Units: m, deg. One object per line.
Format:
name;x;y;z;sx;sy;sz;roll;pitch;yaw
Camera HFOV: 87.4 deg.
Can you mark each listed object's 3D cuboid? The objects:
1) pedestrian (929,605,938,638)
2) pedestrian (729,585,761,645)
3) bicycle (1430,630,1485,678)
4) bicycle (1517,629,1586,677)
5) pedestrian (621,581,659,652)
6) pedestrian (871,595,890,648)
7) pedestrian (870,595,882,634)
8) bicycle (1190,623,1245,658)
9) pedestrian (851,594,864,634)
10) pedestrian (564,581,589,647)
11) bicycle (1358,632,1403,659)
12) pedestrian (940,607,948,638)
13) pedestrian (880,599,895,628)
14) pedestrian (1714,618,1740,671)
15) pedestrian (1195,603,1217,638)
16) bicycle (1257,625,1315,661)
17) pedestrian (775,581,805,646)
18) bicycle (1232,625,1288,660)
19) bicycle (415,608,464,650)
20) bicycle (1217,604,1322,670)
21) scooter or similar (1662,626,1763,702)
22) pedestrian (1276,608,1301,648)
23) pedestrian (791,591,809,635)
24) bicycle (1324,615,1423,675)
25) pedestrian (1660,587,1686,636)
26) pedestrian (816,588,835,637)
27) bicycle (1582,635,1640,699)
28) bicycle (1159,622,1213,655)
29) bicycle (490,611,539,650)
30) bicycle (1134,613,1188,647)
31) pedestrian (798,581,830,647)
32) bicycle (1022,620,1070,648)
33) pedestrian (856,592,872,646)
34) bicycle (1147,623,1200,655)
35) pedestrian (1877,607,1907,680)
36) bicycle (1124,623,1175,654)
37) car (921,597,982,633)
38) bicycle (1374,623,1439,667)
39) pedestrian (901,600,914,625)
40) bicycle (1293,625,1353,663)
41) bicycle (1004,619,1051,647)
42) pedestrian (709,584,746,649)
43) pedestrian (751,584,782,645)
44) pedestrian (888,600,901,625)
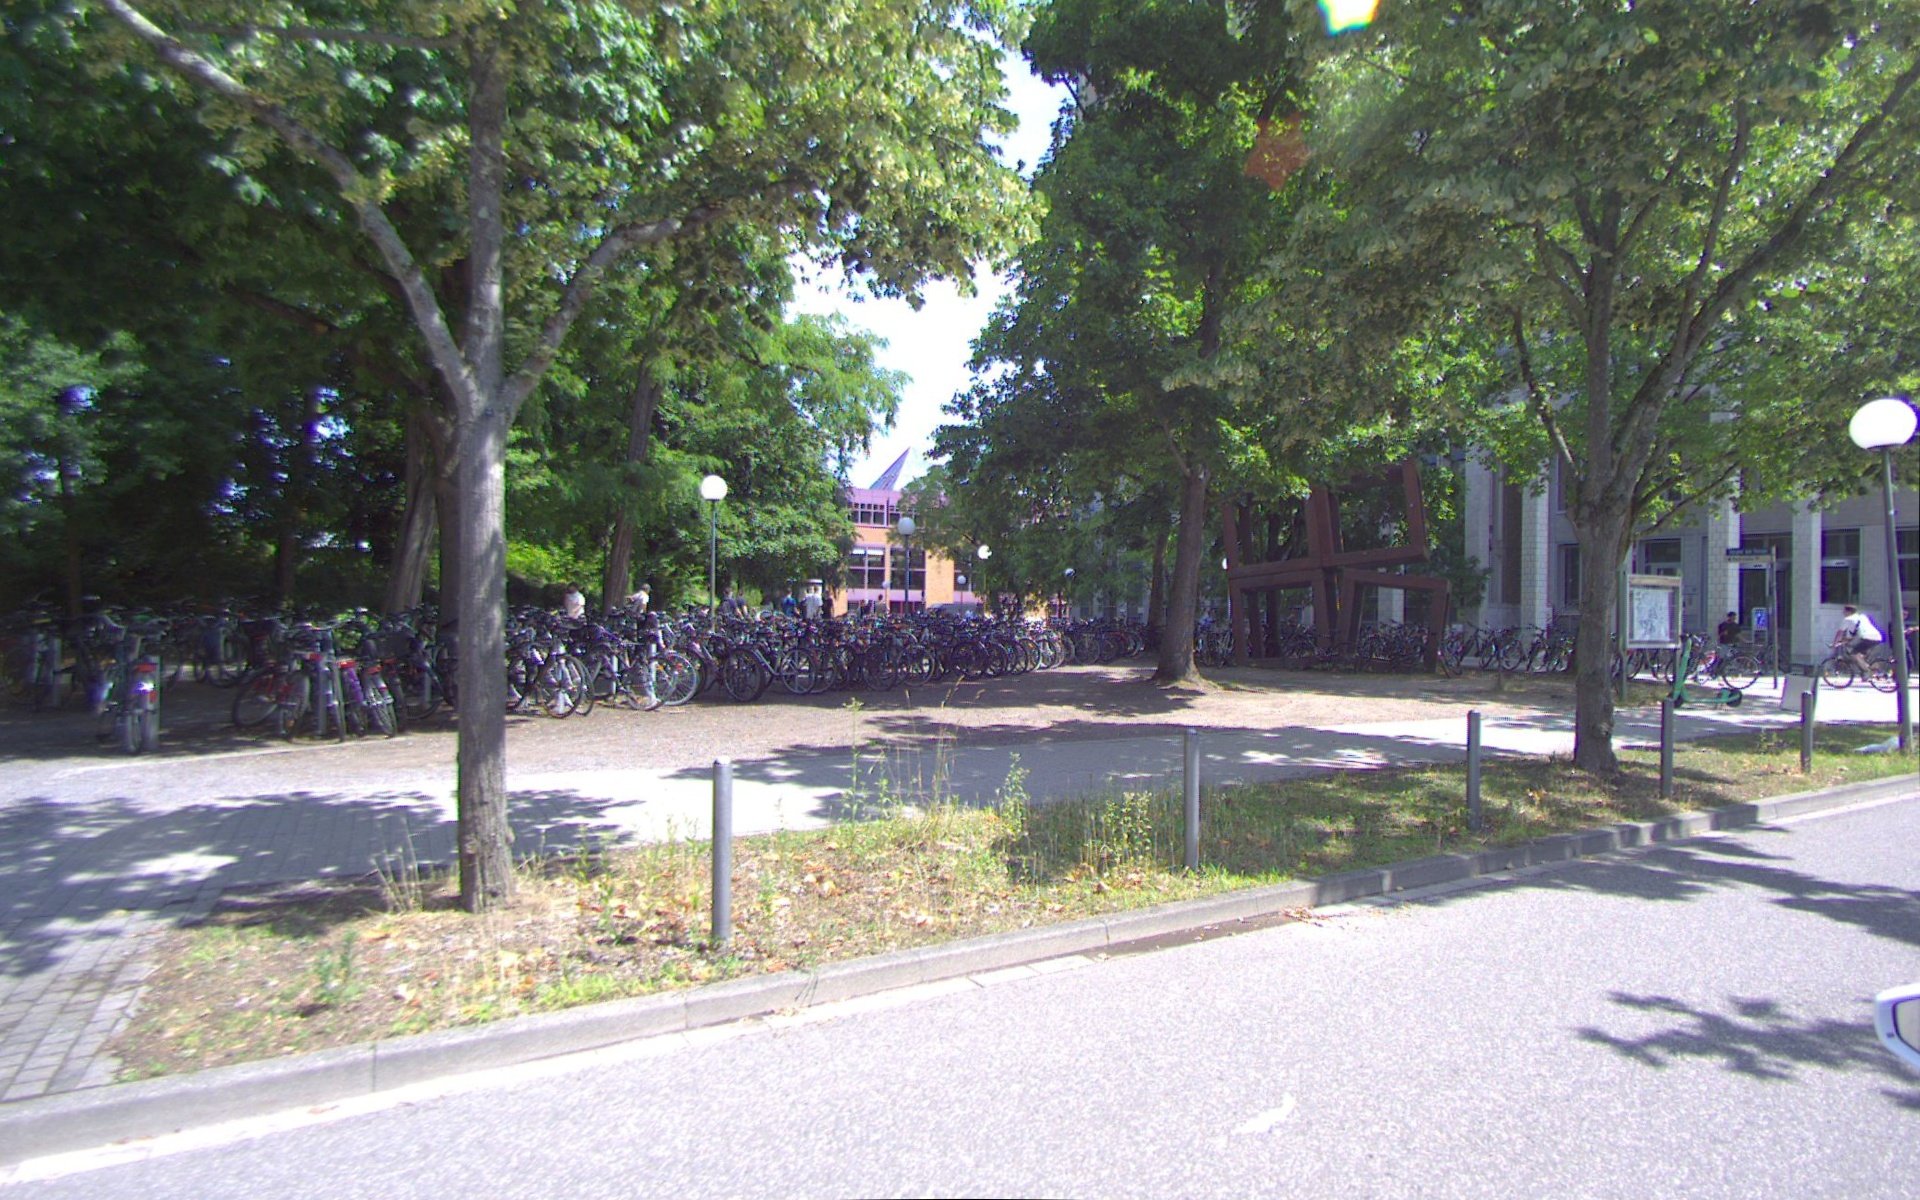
pedestrian;-1.637;1.336;62.493;0.446;2.040;0.611;1;1;3
pedestrian;-6.127;0.427;28.668;0.545;1.693;0.703;1;1;25
bicycle;10.761;1.152;21.692;1.644;0.978;0.471;1;0;-41
bicycle;14.419;1.270;24.469;1.950;1.101;0.549;1;1;-30
pedestrian;-7.763;0.386;24.383;0.567;1.693;0.630;1;1;25
pedestrian;-3.047;0.824;38.546;0.583;2.040;0.532;1;0;-15
pedestrian;-4.340;0.743;51.724;0.511;2.040;0.532;1;0;-15
bicycle;8.662;1.360;33.748;1.950;1.101;0.549;1;1;-30
pedestrian;-5.278;0.741;51.779;0.566;2.040;0.532;1;0;-15
pedestrian;-9.514;0.346;24.901;0.452;1.636;0.351;1;0;-1
bicycle;15.999;1.720;38.179;1.971;0.959;0.523;1;0;-31
pedestrian;-1.035;1.475;65.919;0.457;2.040;0.611;1;1;3
pedestrian;-4.137;0.779;57.117;0.751;1.617;0.392;1;0;-31
pedestrian;21.023;1.209;27.542;0.440;1.402;0.462;-3;1;-39
pedestrian;11.207;0.935;45.768;0.714;1.561;0.696;1;0;-40
bicycle;10.302;1.356;31.748;1.950;1.101;0.549;1;1;-30
pedestrian;-5.232;0.396;30.871;0.610;1.960;0.681;1;1;25
bicycle;9.873;1.383;33.016;1.950;1.101;0.549;1;1;-30
bicycle;-12.196;0.668;23.517;1.741;0.906;0.417;1;1;41
bicycle;7.178;0.837;23.332;2.248;1.469;0.606;1;0;28
scooter or similar;12.195;1.030;16.295;1.301;1.191;0.340;1;0;5
pedestrian;13.676;1.167;41.823;0.590;1.614;0.824;1;0;-28
pedestrian;-5.743;0.469;36.057;0.402;1.547;0.486;1;1;30
bicycle;9.150;0.977;22.262;1.984;1.270;0.586;0;-1;28
pedestrian;24.857;0.396;35.025;0.623;1.683;0.693;1;0;29
pedestrian;-4.804;0.439;35.900;0.405;1.736;0.544;1;1;30
bicycle;11.176;1.124;17.226;1.802;1.039;0.378;1;0;-43
bicycle;7.890;1.349;35.005;1.950;1.101;0.549;1;1;-30
bicycle;-11.199;0.759;25.236;1.741;0.906;0.417;1;1;41
bicycle;7.276;1.082;36.312;2.067;1.137;0.547;-1;2;-31
pedestrian;-4.413;0.427;30.423;0.636;1.960;0.696;1;1;25
bicycle;3.557;1.399;41.624;1.950;1.101;0.614;1;1;-30
pedestrian;-3.690;0.735;38.578;0.511;2.040;0.532;1;0;-15
bicycle;7.583;1.382;35.640;1.950;1.101;0.549;1;1;-30
pedestrian;23.290;1.087;25.096;0.434;1.799;0.450;1;0;30
bicycle;7.018;1.410;37.120;1.950;1.101;0.549;1;1;-30
car;-0.682;1.244;81.296;4.583;2.813;1.980;1;0;-35
bicycle;11.135;1.112;25.036;1.828;1.046;0.473;1;0;-30
pedestrian;-3.394;0.793;65.166;0.595;1.627;0.627;1;0;-30
bicycle;11.010;1.340;30.448;1.950;1.101;0.549;1;1;-30
bicycle;2.866;1.396;42.510;1.950;1.101;0.614;1;1;-30
pedestrian;-6.225;0.433;26.880;0.620;1.693;0.729;1;1;25
pedestrian;-5.483;0.416;28.525;0.545;1.693;0.693;1;1;25
pedestrian;-4.238;0.800;65.211;0.595;1.627;0.627;1;0;-30
